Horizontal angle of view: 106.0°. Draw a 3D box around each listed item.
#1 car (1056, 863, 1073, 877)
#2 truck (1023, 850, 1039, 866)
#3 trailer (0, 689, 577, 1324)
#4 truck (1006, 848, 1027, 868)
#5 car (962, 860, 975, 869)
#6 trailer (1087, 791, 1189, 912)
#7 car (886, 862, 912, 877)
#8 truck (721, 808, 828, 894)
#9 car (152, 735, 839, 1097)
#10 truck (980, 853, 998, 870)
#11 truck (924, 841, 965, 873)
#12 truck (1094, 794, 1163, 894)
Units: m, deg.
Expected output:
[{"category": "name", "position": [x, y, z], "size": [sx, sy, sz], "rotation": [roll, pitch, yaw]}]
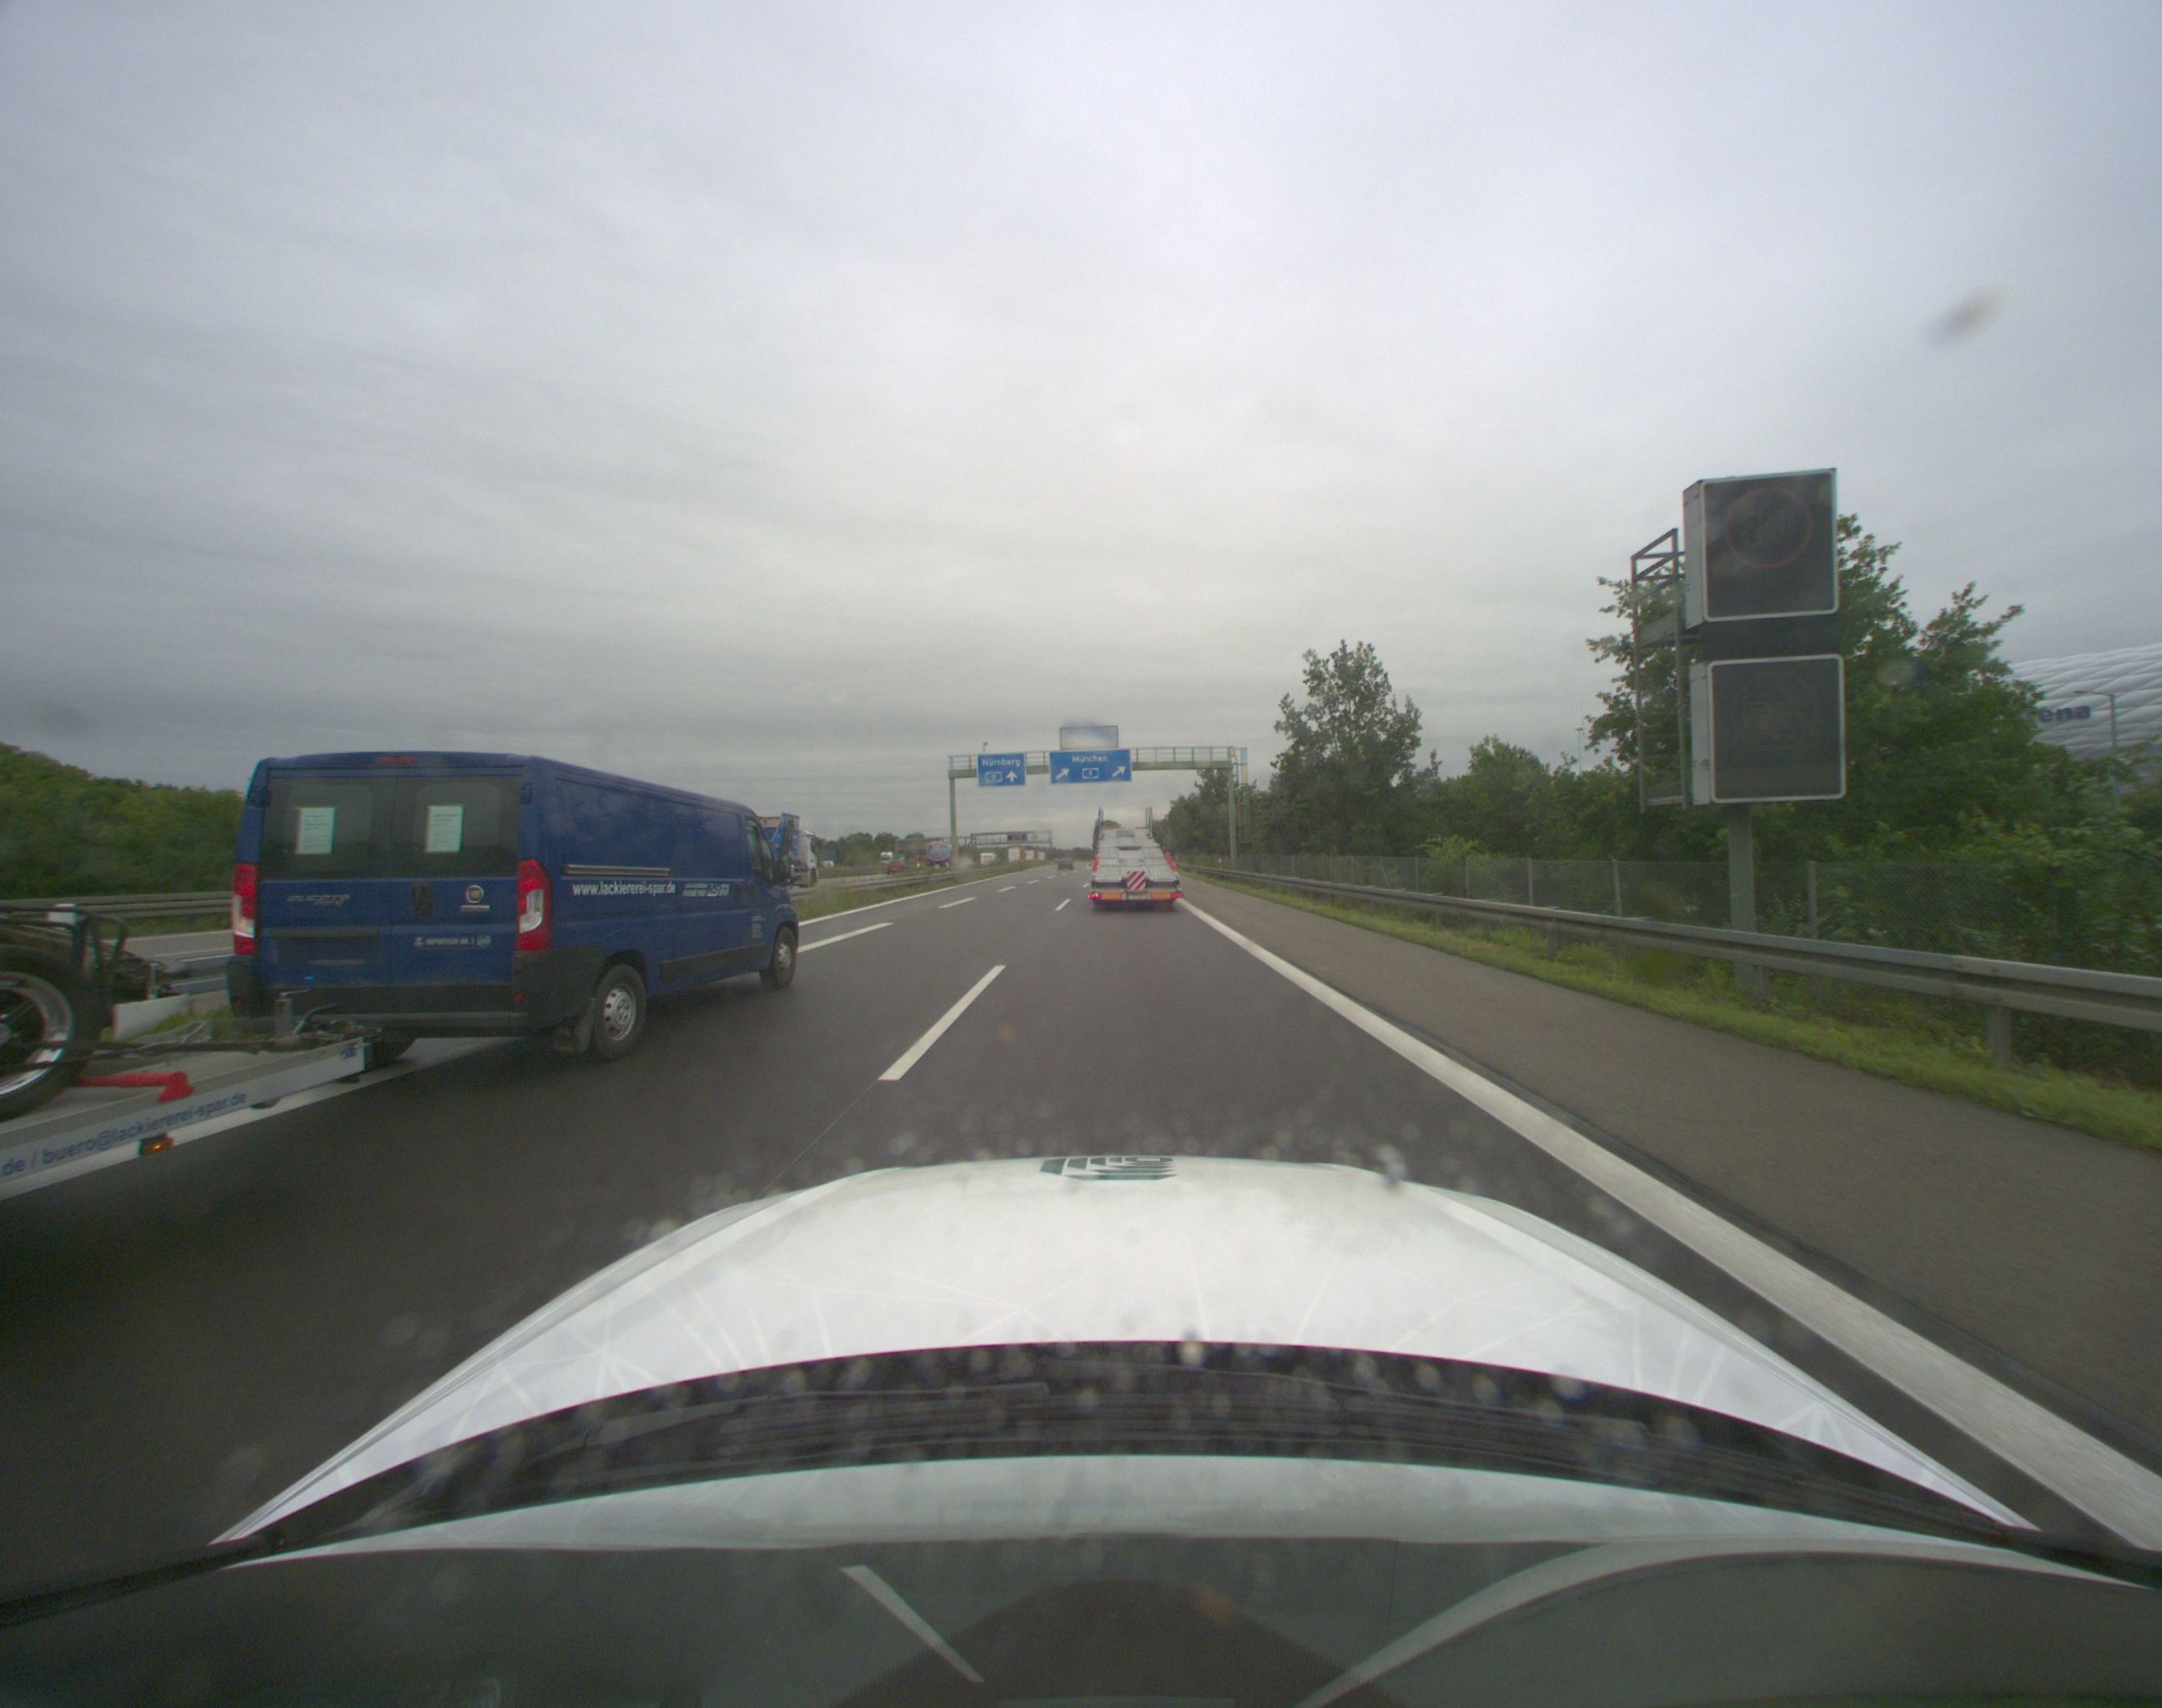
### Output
[{"category": "car", "position": [-1.978, 1.928, 98.761], "size": [1.954, 1.637, 5.625], "rotation": [0, -1, 1]}, {"category": "truck", "position": [-13.937, 1.090, 228.432], "size": [3.720, 4.417, 11.897], "rotation": [0, 0, 1]}, {"category": "trailer", "position": [-4.639, 0.475, 1.894], "size": [2.476, 1.994, 7.063], "rotation": [0, 0, 0]}, {"category": "truck", "position": [-14.432, 0.926, 182.595], "size": [3.720, 4.417, 10.195], "rotation": [0, 0, 1]}, {"category": "car", "position": [-18.933, 1.810, 137.502], "size": [1.678, 1.530, 3.997], "rotation": [0, 0, -2]}, {"category": "trailer", "position": [1.728, -0.065, 27.456], "size": [2.767, 3.285, 10.411], "rotation": [0, 0, 2]}, {"category": "car", "position": [-19.365, 1.680, 86.729], "size": [1.788, 1.557, 3.826], "rotation": [0, -1, 1]}, {"category": "truck", "position": [-14.814, -0.092, 40.000], "size": [2.631, 3.812, 7.337], "rotation": [0, -1, -2]}, {"category": "car", "position": [-4.602, 0.407, 8.247], "size": [2.365, 2.266, 6.256], "rotation": [0, 0, 0]}, {"category": "truck", "position": [-15.021, 1.254, 133.590], "size": [2.235, 2.704, 5.279], "rotation": [0, 0, 1]}, {"category": "truck", "position": [-14.905, 0.353, 89.558], "size": [2.847, 3.365, 8.631], "rotation": [-1, 0, 1]}, {"category": "truck", "position": [2.000, -0.389, 37.237], "size": [2.729, 3.968, 9.130], "rotation": [0, 0, 1]}]
